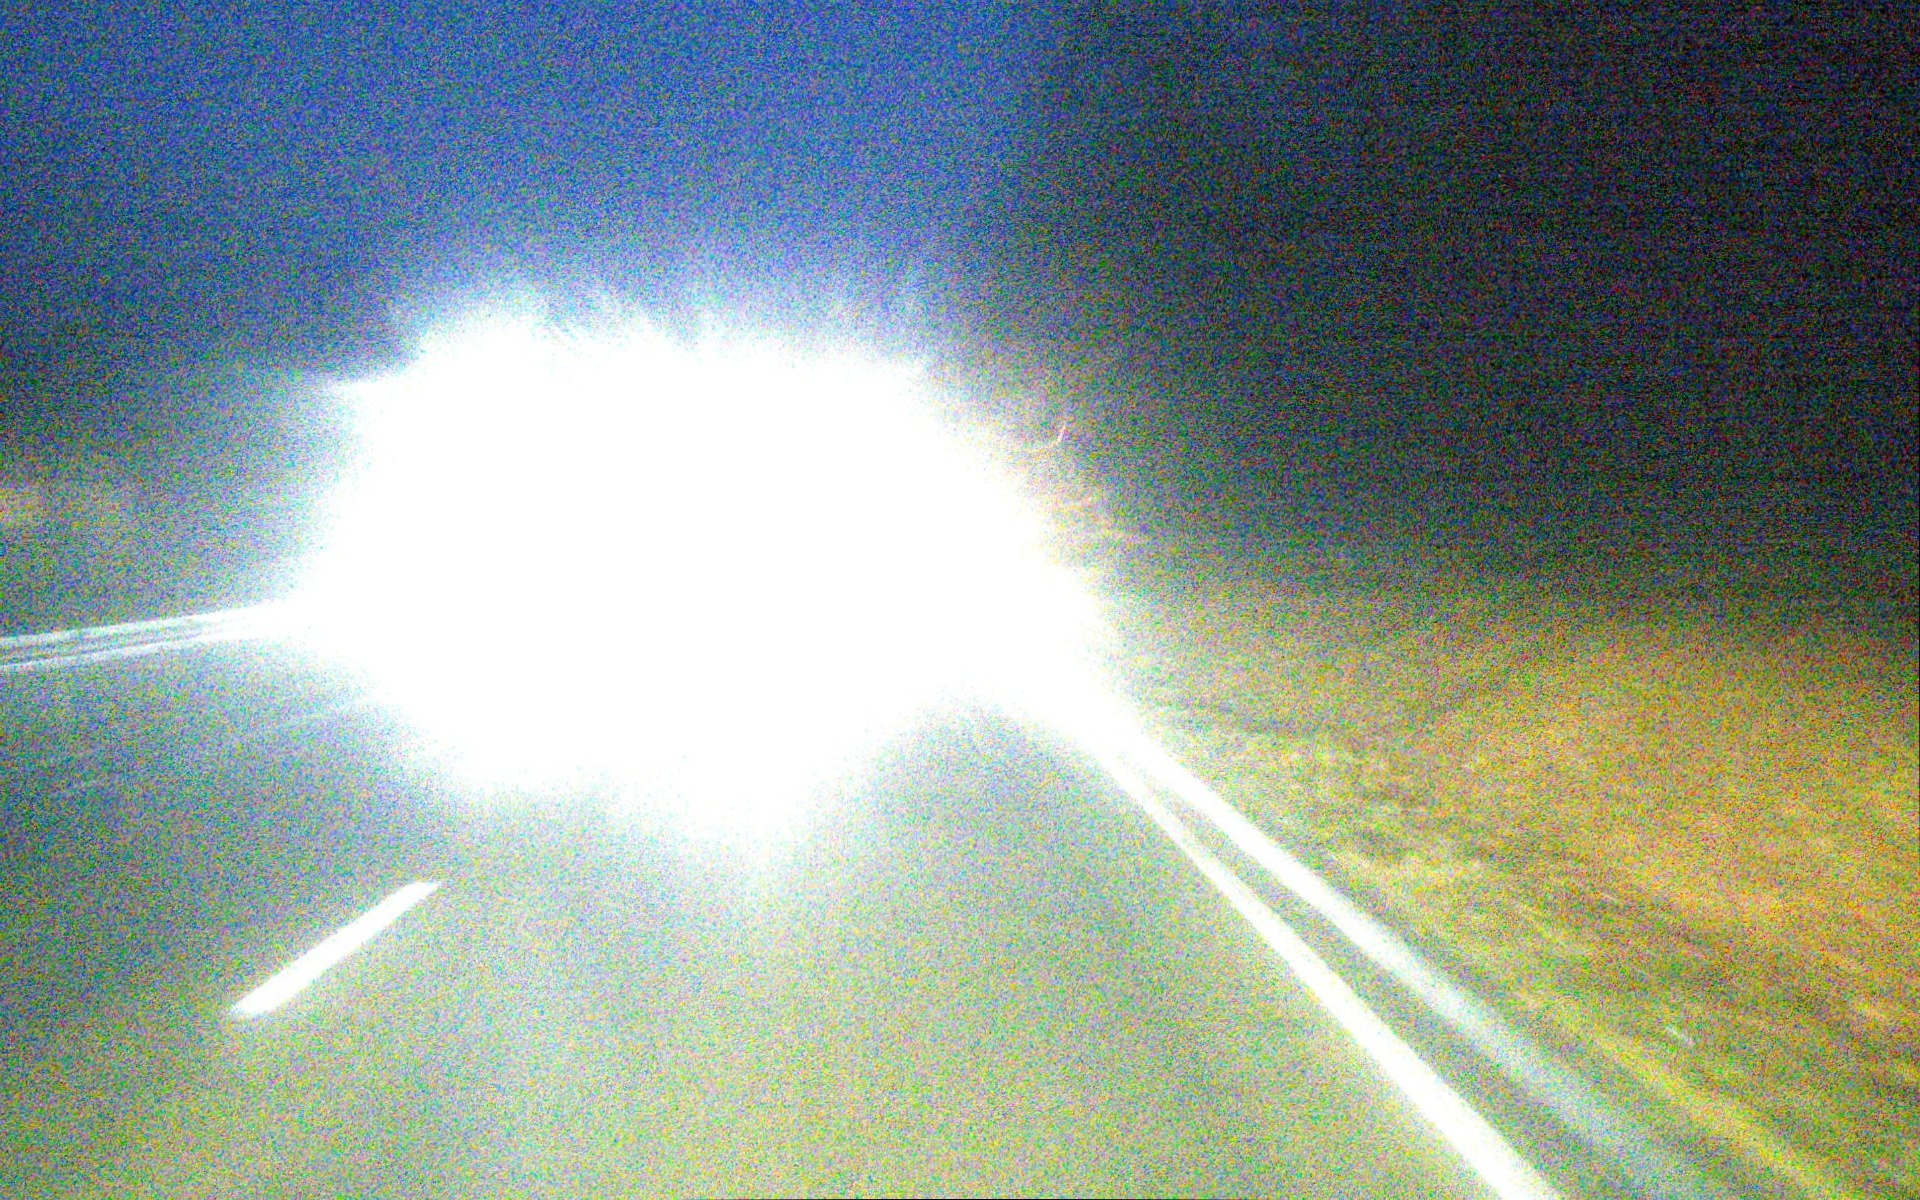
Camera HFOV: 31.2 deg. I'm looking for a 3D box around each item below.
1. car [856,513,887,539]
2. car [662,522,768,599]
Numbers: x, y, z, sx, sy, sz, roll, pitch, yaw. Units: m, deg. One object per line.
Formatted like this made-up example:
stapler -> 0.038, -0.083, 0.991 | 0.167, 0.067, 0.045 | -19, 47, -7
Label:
car -> -5.814, -4.904, 227.222 | 1.993, 1.660, 4.000 | 1, 1, -1
car -> -5.337, -0.879, 75.438 | 2.097, 1.633, 4.456 | 0, 1, -1
